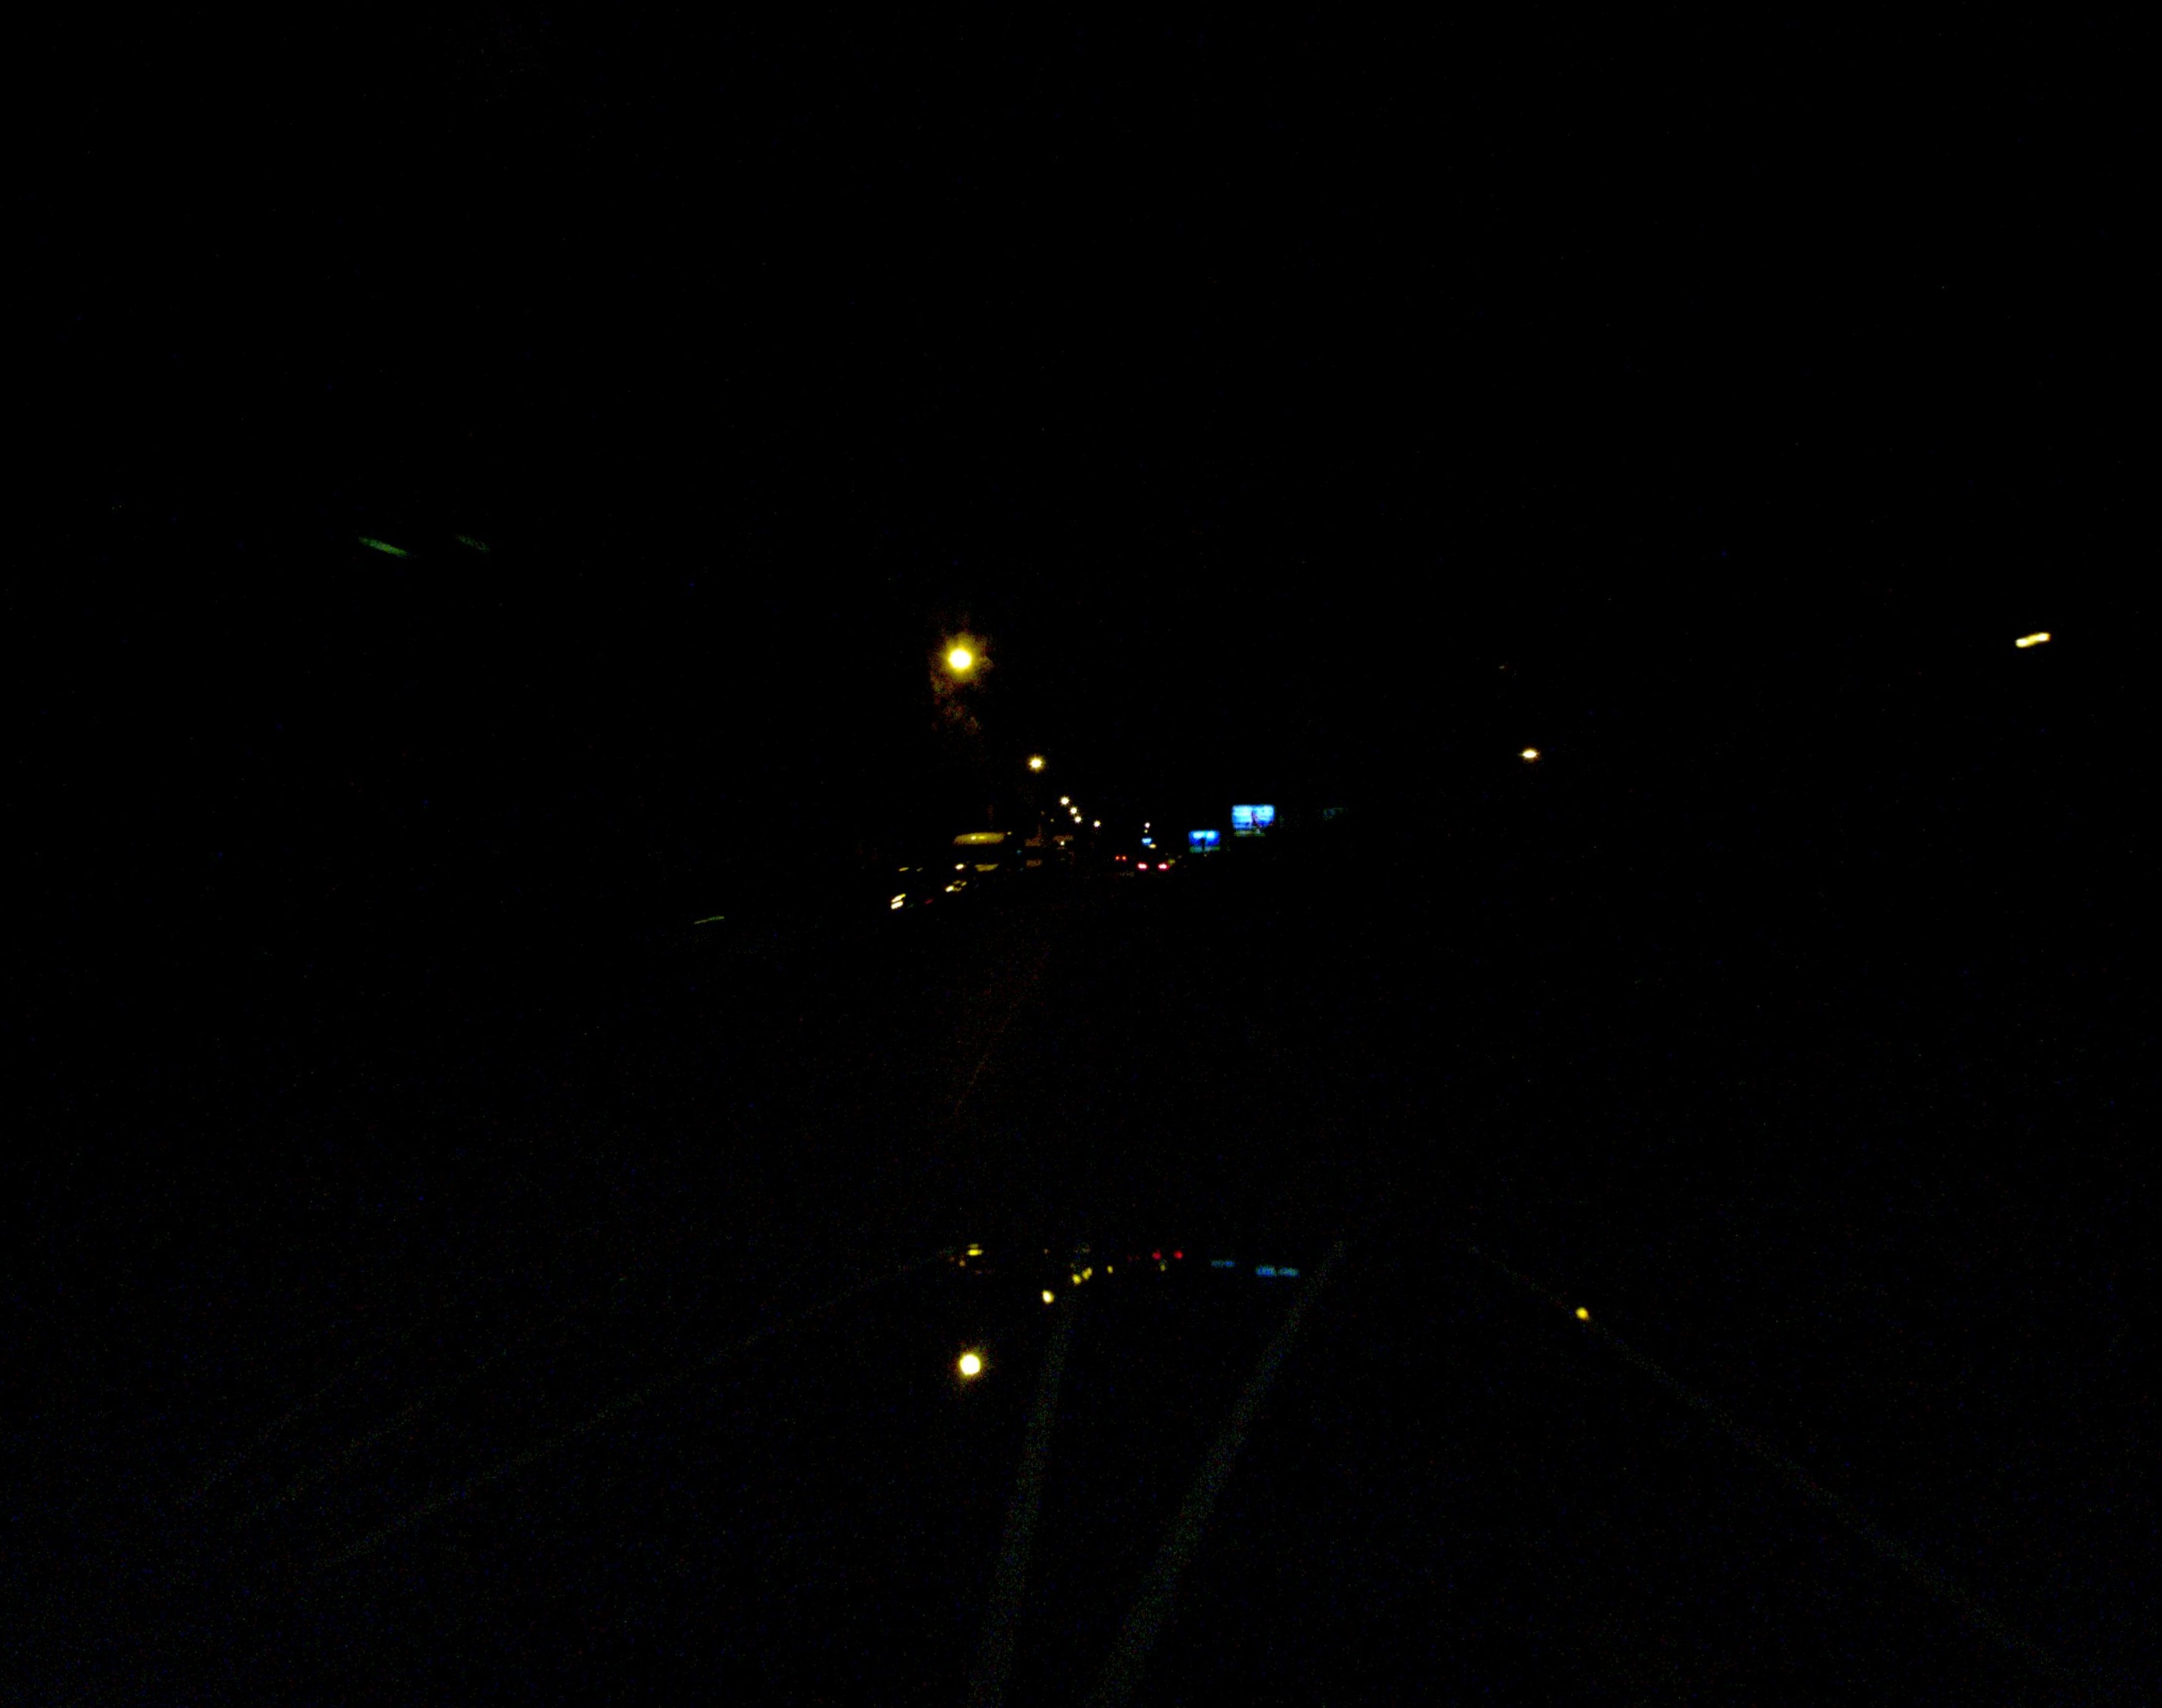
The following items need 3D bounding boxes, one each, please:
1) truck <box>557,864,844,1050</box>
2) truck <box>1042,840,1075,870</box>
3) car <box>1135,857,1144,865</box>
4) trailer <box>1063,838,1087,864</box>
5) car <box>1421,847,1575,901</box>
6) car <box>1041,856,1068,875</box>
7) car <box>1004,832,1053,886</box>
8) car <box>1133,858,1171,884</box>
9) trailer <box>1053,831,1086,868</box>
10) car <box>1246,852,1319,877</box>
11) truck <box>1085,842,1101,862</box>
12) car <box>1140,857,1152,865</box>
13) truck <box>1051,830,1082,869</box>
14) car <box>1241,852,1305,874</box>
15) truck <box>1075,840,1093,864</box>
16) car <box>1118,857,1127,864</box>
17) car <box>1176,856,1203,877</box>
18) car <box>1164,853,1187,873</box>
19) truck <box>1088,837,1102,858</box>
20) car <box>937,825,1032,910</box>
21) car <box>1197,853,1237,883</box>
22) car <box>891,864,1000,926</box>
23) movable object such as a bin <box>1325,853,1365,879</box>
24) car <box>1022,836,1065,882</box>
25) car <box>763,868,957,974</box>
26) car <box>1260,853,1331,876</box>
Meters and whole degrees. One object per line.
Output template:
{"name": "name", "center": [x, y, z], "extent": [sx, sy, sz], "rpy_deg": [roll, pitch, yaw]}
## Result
{"name": "truck", "center": [-4.103, 0.976, 8.914], "extent": [1.373, 1.635, 3.812], "rpy_deg": [-1, 0, 1]}
{"name": "truck", "center": [-2.007, 0.135, 69.692], "extent": [2.407, 2.579, 6.599], "rpy_deg": [-1, 0, 4]}
{"name": "car", "center": [11.269, 1.276, 146.402], "extent": [1.690, 1.357, 3.879], "rpy_deg": [-2, 0, 2]}
{"name": "trailer", "center": [-0.723, -0.373, 105.750], "extent": [2.885, 3.503, 8.285], "rpy_deg": [-1, 0, 2]}
{"name": "car", "center": [13.663, 0.659, 25.198], "extent": [4.133, 1.423, 1.899], "rpy_deg": [-5, -1, 20]}
{"name": "car", "center": [-2.120, 0.952, 62.669], "extent": [1.834, 1.399, 4.909], "rpy_deg": [-4, 0, 2]}
{"name": "car", "center": [-2.701, 0.275, 40.814], "extent": [2.134, 2.556, 5.909], "rpy_deg": [-4, 0, -1]}
{"name": "car", "center": [4.116, 0.945, 44.563], "extent": [1.862, 1.412, 4.000], "rpy_deg": [-1, 0, 1]}
{"name": "trailer", "center": [-1.140, -0.530, 85.686], "extent": [2.772, 3.741, 14.657], "rpy_deg": [-2, 0, 2]}
{"name": "car", "center": [13.958, 0.703, 52.593], "extent": [4.678, 1.542, 1.996], "rpy_deg": [-1, 0, -27]}
{"name": "truck", "center": [2.761, -0.506, 177.775], "extent": [3.072, 4.449, 5.636], "rpy_deg": [-2, 0, 6]}
{"name": "car", "center": [10.902, 1.187, 127.338], "extent": [1.760, 1.382, 4.310], "rpy_deg": [-1, 0, 3]}
{"name": "truck", "center": [-1.443, -0.468, 78.302], "extent": [2.772, 3.742, 5.229], "rpy_deg": [-2, 0, 2]}
{"name": "car", "center": [14.697, 0.669, 58.169], "extent": [4.419, 1.551, 1.996], "rpy_deg": [-1, 0, -22]}
{"name": "truck", "center": [0.582, -0.346, 132.853], "extent": [2.797, 3.946, 9.822], "rpy_deg": [-2, -1, 2]}
{"name": "car", "center": [8.931, 1.401, 162.205], "extent": [1.824, 1.429, 4.399], "rpy_deg": [-1, 0, 2]}
{"name": "car", "center": [9.059, 0.984, 63.737], "extent": [1.951, 1.678, 4.817], "rpy_deg": [-1, 0, 4]}
{"name": "car", "center": [9.183, 0.857, 74.389], "extent": [1.808, 1.788, 4.879], "rpy_deg": [-1, 0, 2]}
{"name": "truck", "center": [2.960, -1.274, 159.701], "extent": [2.659, 3.850, 10.235], "rpy_deg": [-2, -2, 2]}
{"name": "car", "center": [-3.197, 0.425, 26.694], "extent": [1.998, 2.511, 5.911], "rpy_deg": [-4, 0, 4]}
{"name": "car", "center": [8.629, 0.862, 48.629], "extent": [1.818, 1.838, 4.415], "rpy_deg": [-1, 0, 1]}
{"name": "car", "center": [-3.455, 1.007, 20.271], "extent": [1.773, 1.404, 4.551], "rpy_deg": [-1, 0, 4]}
{"name": "movable object such as a bin", "center": [15.796, 0.701, 45.581], "extent": [1.862, 1.491, 1.609], "rpy_deg": [-1, 0, 2]}
{"name": "car", "center": [-2.277, 0.309, 47.688], "extent": [1.998, 2.556, 6.015], "rpy_deg": [-4, 0, 2]}
{"name": "car", "center": [-3.715, 1.048, 13.883], "extent": [1.951, 1.480, 5.011], "rpy_deg": [-1, 0, 1]}
{"name": "car", "center": [14.101, 0.671, 49.843], "extent": [4.421, 1.432, 1.789], "rpy_deg": [-1, 0, -27]}
